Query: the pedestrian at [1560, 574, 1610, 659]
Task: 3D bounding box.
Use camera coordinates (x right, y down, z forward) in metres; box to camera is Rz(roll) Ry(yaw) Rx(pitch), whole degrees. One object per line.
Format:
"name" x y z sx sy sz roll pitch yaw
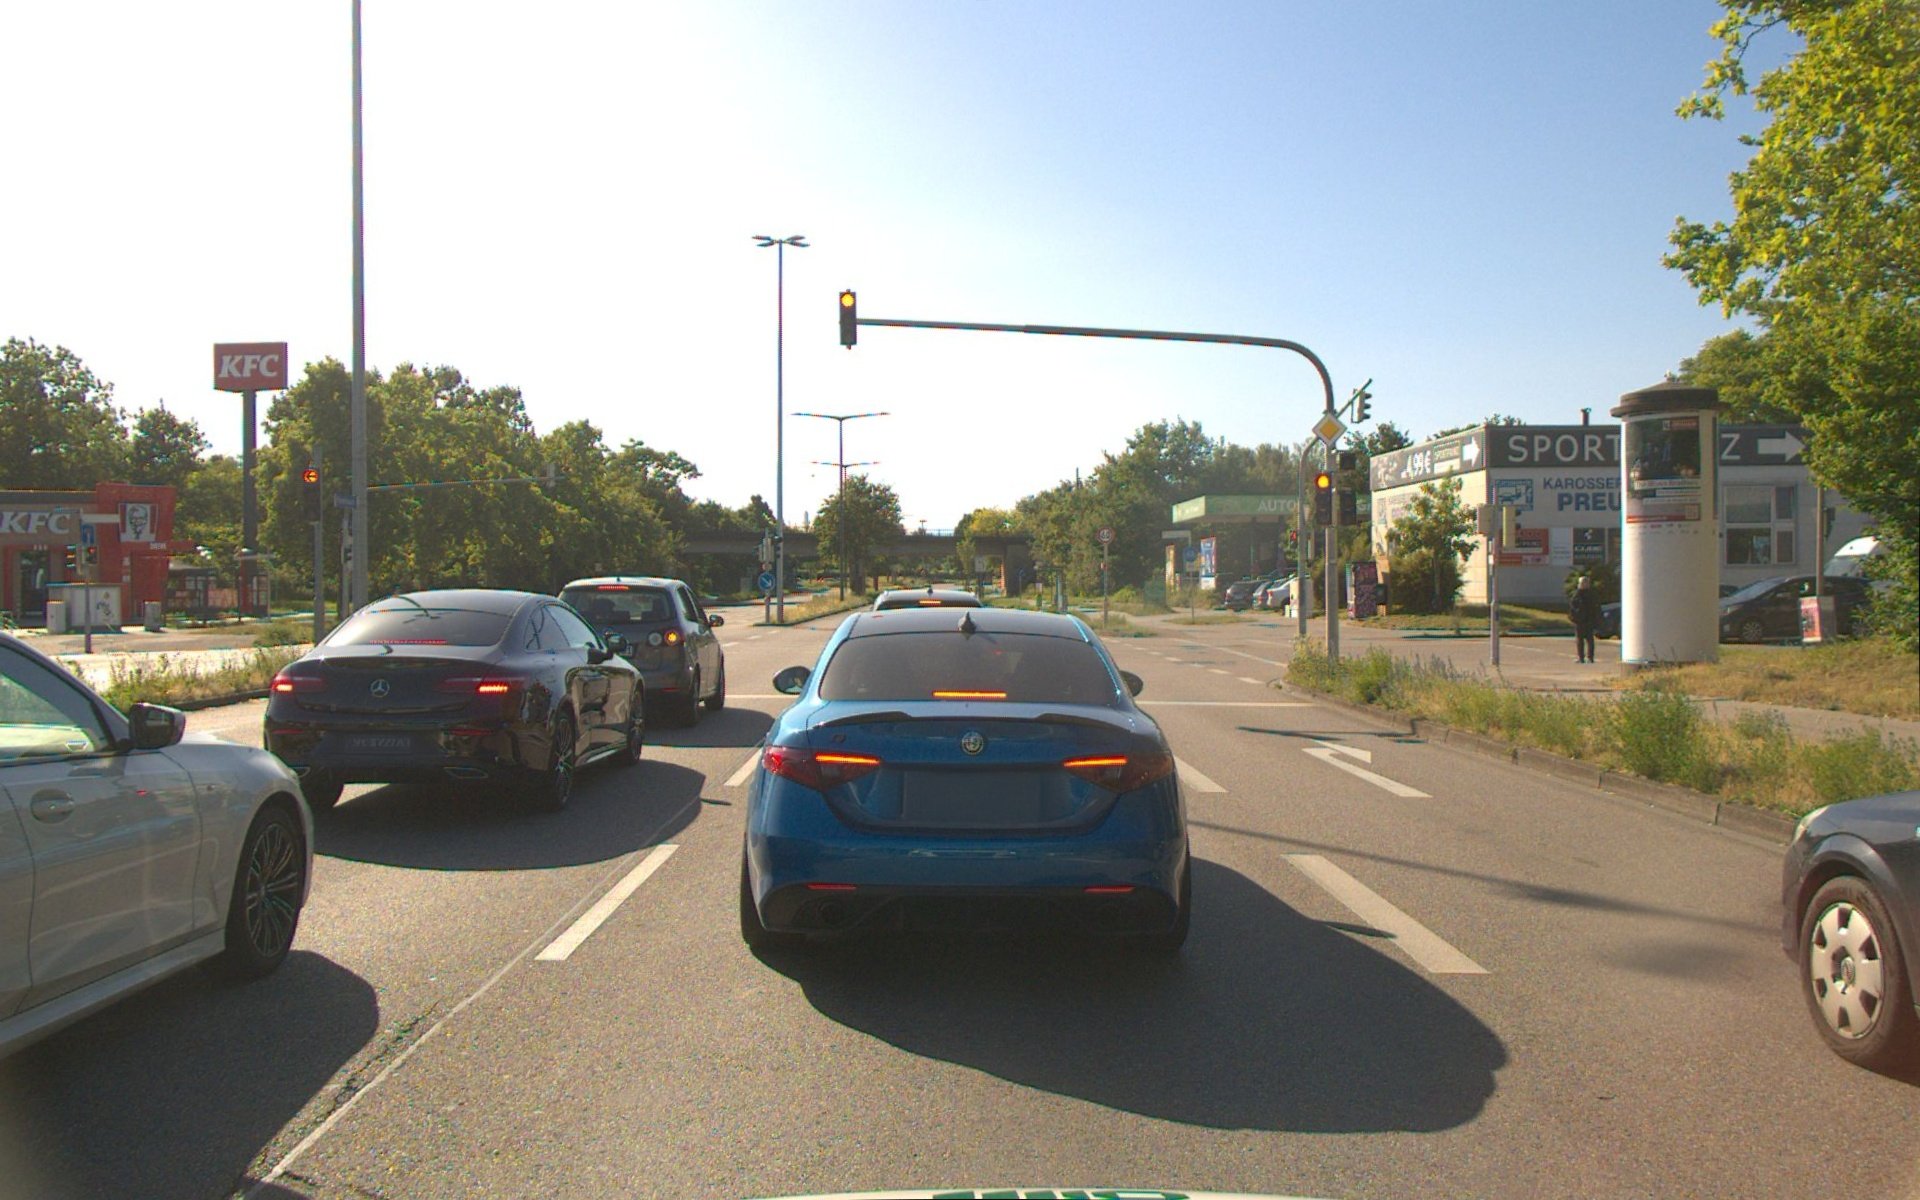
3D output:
"pedestrian" 12.688 0.334 33.567 0.800 1.698 0.514 1 -1 -1

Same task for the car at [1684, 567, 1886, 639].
"car" 20.465 0.075 41.114 4.219 1.678 1.637 1 0 -2

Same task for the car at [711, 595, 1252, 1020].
"car" 0.106 0.732 7.647 1.870 1.447 3.719 1 0 1

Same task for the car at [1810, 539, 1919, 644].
"car" 26.310 -0.259 44.596 5.715 2.719 2.000 -1 0 0

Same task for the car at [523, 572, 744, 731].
"car" -3.583 0.531 18.898 1.776 1.578 4.351 1 0 -2

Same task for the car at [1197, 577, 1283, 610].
"car" 14.423 -0.312 85.192 3.925 1.579 1.990 1 0 -18

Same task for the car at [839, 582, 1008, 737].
"car" -0.333 0.603 18.479 1.669 1.523 3.719 1 0 1

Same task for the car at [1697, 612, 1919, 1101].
"car" 3.781 0.802 4.315 1.699 1.467 4.370 1 0 -1

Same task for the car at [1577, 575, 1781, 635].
"car" 19.167 0.134 44.197 4.722 1.493 1.758 1 0 -3

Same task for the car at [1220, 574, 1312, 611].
"car" 14.120 -0.336 76.435 3.905 1.579 2.000 1 0 0

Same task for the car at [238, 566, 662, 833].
"car" -3.442 0.580 12.114 1.775 1.578 4.542 1 0 -1

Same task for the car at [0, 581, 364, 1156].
"car" -3.404 0.696 4.685 1.775 1.512 4.596 0 0 0
